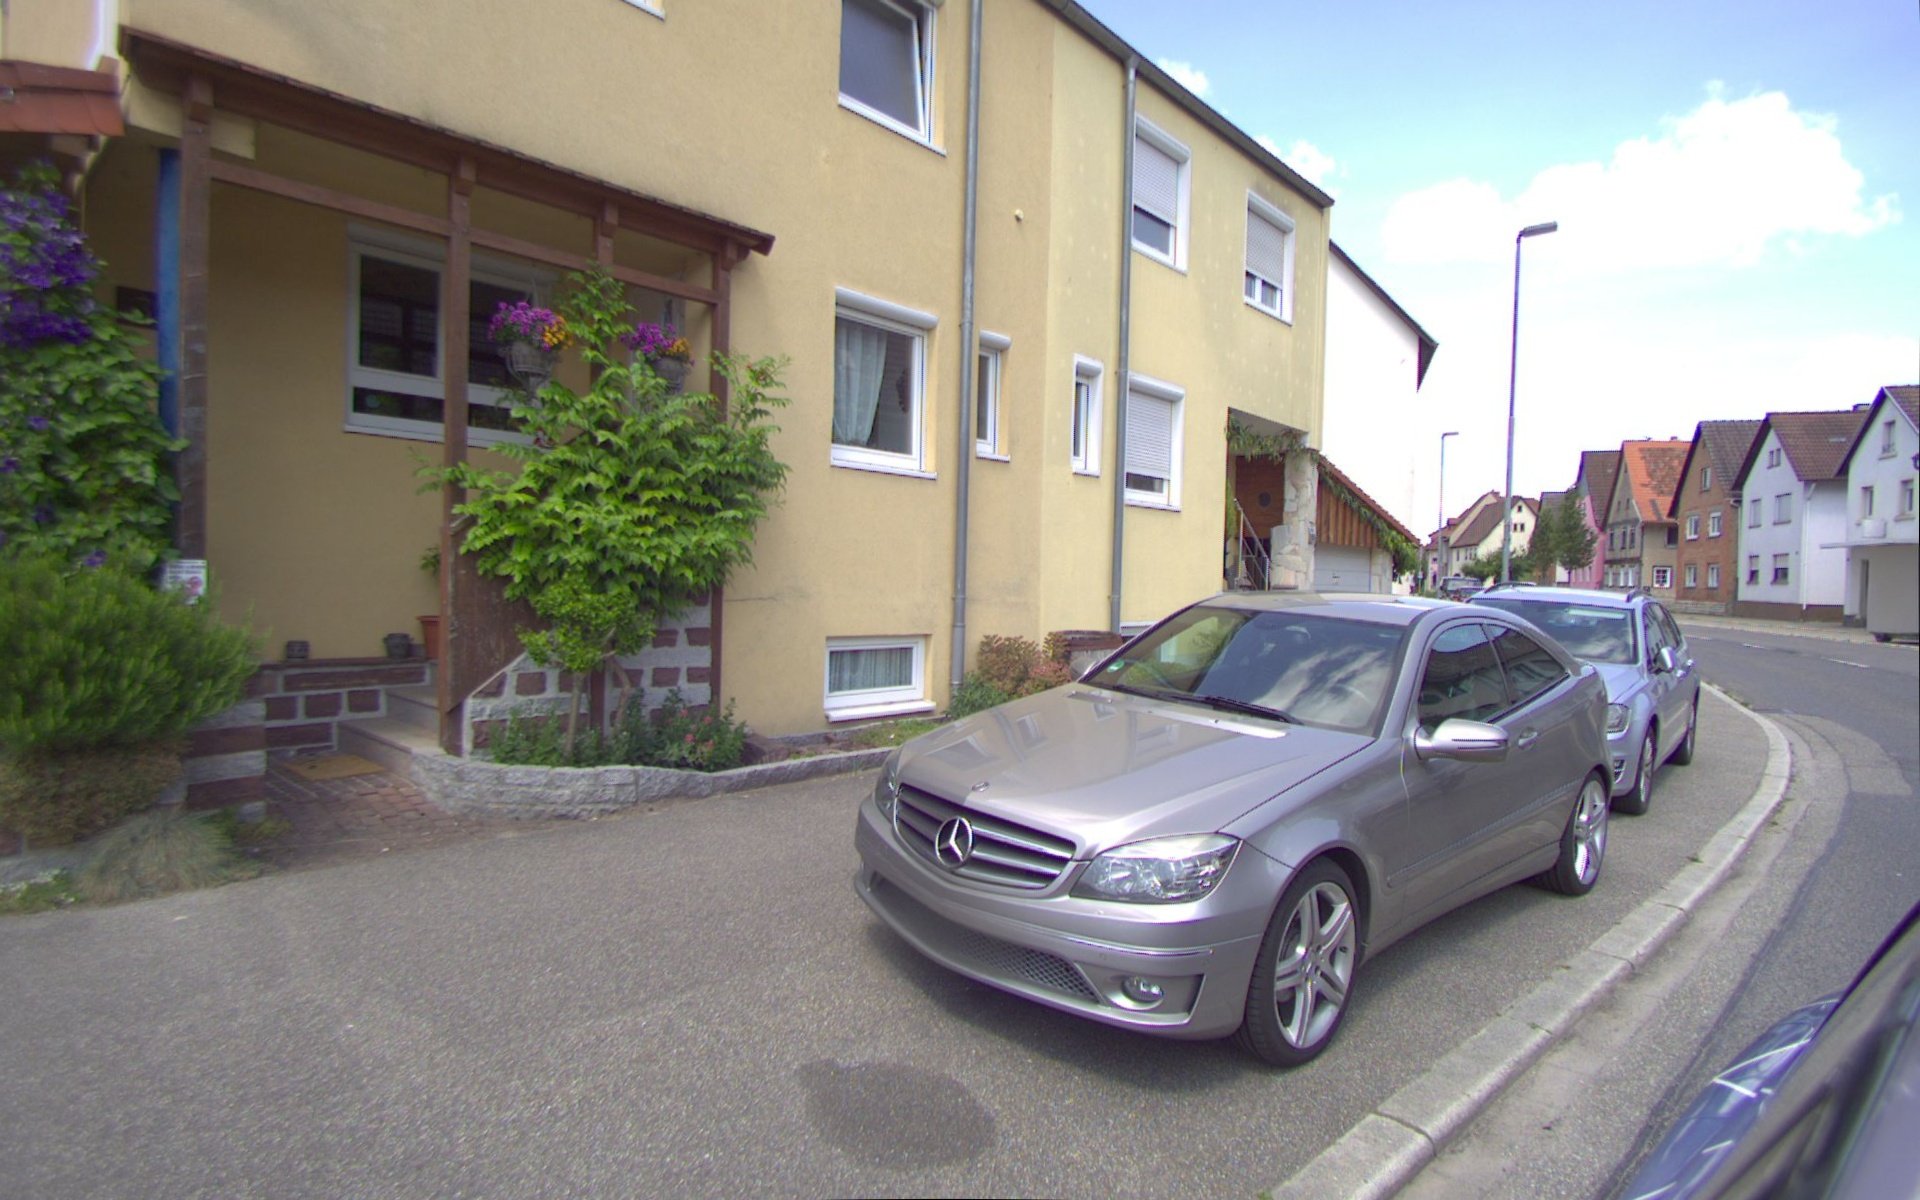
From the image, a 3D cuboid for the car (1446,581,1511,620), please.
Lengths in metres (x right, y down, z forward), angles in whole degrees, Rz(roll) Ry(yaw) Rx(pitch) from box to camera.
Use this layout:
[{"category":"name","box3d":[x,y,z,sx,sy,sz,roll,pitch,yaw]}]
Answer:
[{"category":"car","box3d":[23.092,-0.009,45.197,1.641,1.668,3.984,0,1,13]}]

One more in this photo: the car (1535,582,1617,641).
[{"category":"car","box3d":[17.074,0.254,28.189,1.713,1.402,3.961,2,3,28]}]

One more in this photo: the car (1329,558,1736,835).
[{"category":"car","box3d":[4.786,0.516,8.139,1.885,1.548,4.269,5,4,42]}]

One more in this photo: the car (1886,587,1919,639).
[{"category":"car","box3d":[27.242,0.363,27.358,1.789,1.438,4.516,0,0,22]}]

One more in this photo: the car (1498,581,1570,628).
[{"category":"car","box3d":[20.180,0.176,35.727,1.754,1.549,3.967,1,-1,23]}]

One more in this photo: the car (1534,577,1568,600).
[{"category":"car","box3d":[43.425,-0.864,74.422,1.665,1.549,3.474,0,2,22]}]

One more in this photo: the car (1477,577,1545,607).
[{"category":"car","box3d":[35.989,-0.563,66.243,1.964,1.822,4.933,-1,2,3]}]

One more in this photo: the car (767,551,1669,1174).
[{"category":"car","box3d":[1.494,0.538,4.507,4.350,1.416,1.773,-2,5,-43]}]
